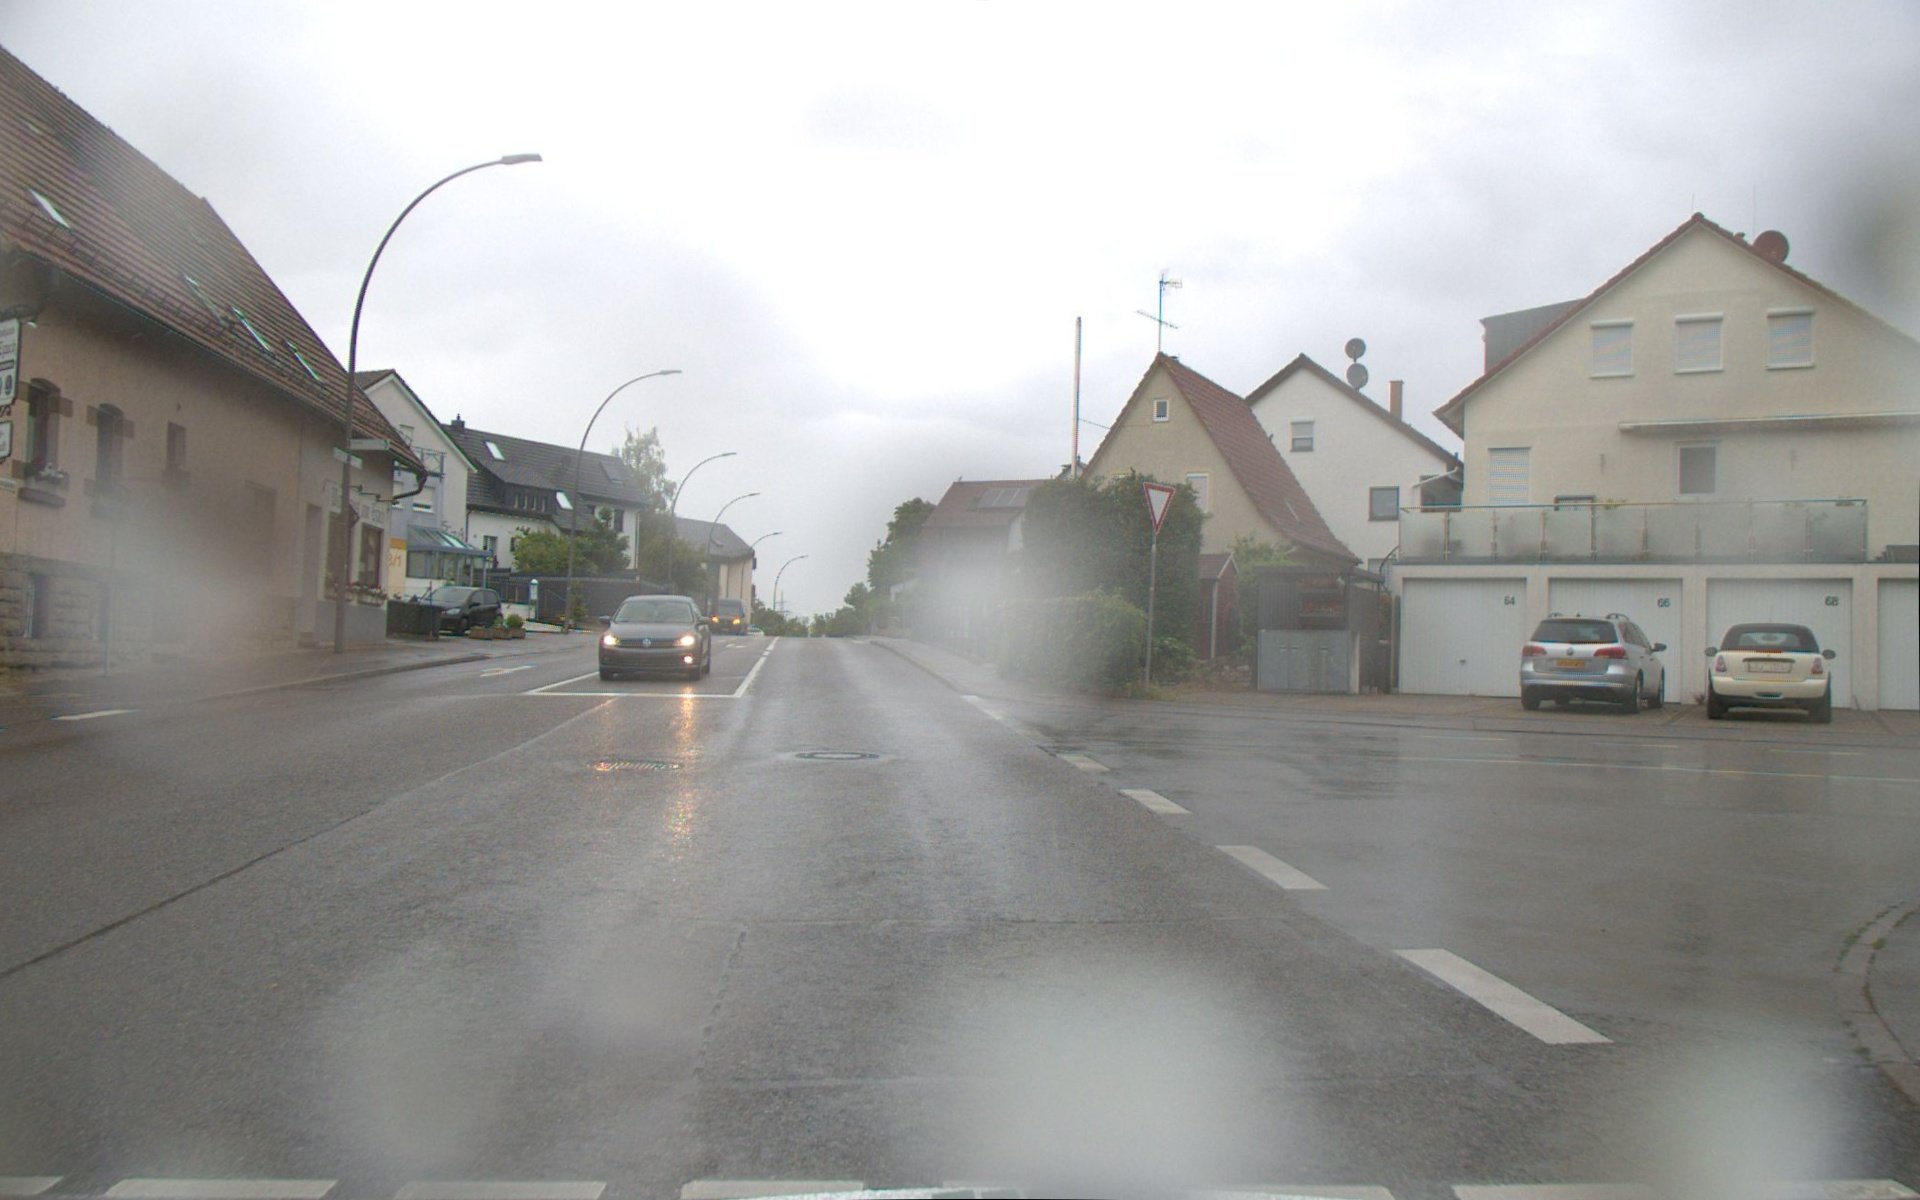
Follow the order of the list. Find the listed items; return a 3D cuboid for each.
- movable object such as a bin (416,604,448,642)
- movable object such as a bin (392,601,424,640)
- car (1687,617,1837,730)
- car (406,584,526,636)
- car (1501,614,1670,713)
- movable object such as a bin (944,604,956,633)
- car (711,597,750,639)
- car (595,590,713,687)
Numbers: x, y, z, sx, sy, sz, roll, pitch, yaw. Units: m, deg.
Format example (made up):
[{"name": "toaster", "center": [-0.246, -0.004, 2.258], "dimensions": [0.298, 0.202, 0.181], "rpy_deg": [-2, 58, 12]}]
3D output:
[{"name": "movable object such as a bin", "center": [-14.591, 0.634, 45.712], "dimensions": [0.624, 1.050, 0.674], "rpy_deg": [0, -1, 8]}, {"name": "movable object such as a bin", "center": [-15.279, 0.564, 45.790], "dimensions": [0.624, 1.050, 0.605], "rpy_deg": [0, -1, 8]}, {"name": "car", "center": [12.503, 1.074, 25.878], "dimensions": [1.954, 1.557, 3.997], "rpy_deg": [0, 0, 25]}, {"name": "car", "center": [-15.340, 0.313, 51.563], "dimensions": [1.861, 1.467, 3.831], "rpy_deg": [3, 0, 13]}, {"name": "car", "center": [10.247, 0.970, 26.910], "dimensions": [1.956, 1.422, 4.143], "rpy_deg": [0, 0, 30]}, {"name": "movable object such as a bin", "center": [-0.363, 0.658, 59.926], "dimensions": [0.433, 1.039, 0.525], "rpy_deg": [0, -1, 2]}, {"name": "car", "center": [-16.065, 1.282, 116.185], "dimensions": [2.052, 2.696, 5.914], "rpy_deg": [3, -2, -2]}, {"name": "car", "center": [-5.419, 0.632, 29.367], "dimensions": [1.909, 1.601, 4.215], "rpy_deg": [1, 0, -10]}]
